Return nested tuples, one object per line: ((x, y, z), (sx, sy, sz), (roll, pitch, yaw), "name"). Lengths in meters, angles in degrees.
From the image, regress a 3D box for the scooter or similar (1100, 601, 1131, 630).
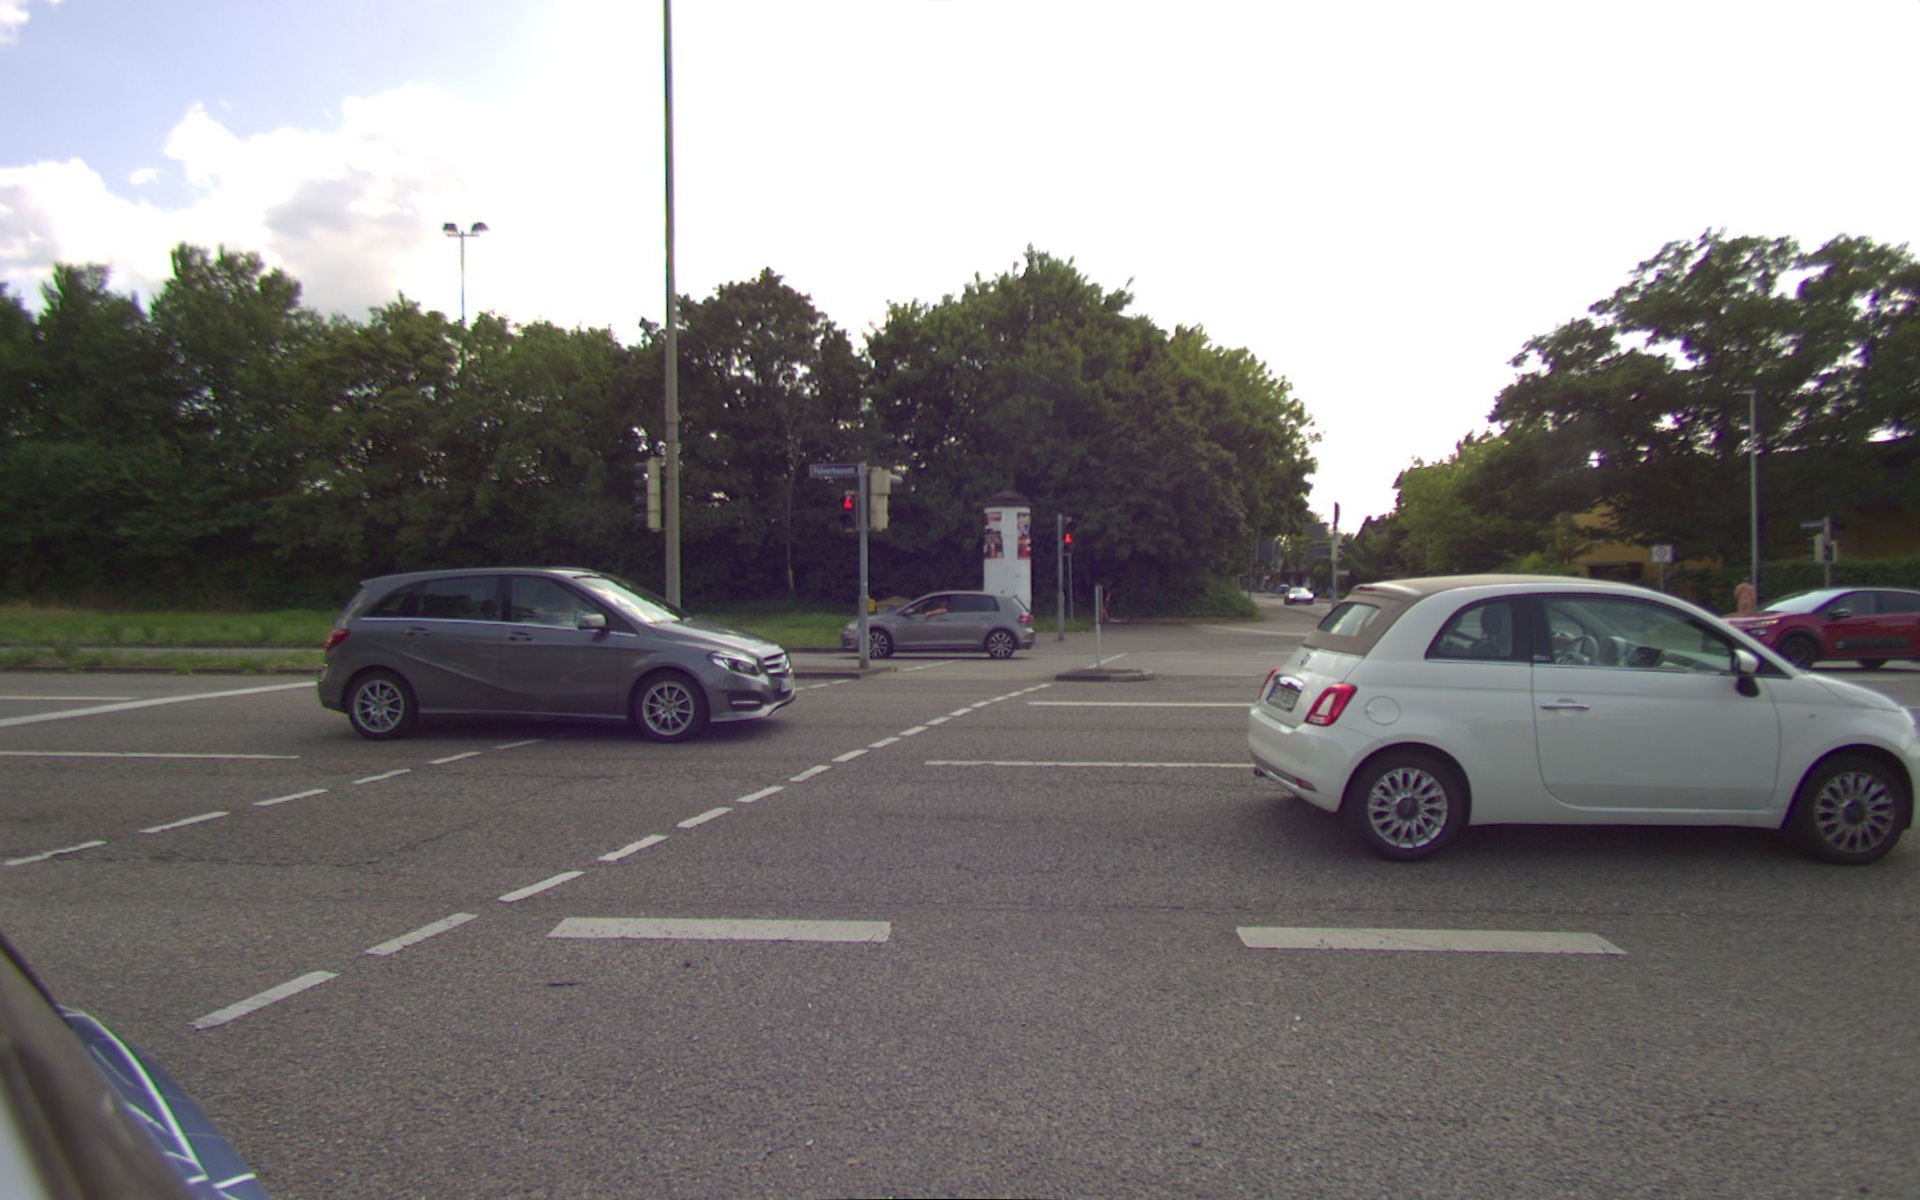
((5.239, 0.508, 34.104), (1.025, 0.949, 0.296), (1, 2, 11), "scooter or similar")

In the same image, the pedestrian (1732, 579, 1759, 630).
((27.300, 0.141, 35.190), (0.691, 1.755, 0.697), (0, 0, 34), "pedestrian")

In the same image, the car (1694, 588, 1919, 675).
((15.918, 0.530, 17.984), (4.394, 1.476, 1.777), (0, 0, 1), "car")

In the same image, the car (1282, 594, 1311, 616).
((25.746, 0.344, 77.586), (1.714, 1.439, 3.983), (1, 3, 14), "car")

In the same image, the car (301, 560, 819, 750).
((-3.639, 0.450, 9.676), (4.303, 1.631, 1.703), (0, 2, 4), "car")

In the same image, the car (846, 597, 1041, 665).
((-0.320, 0.629, 21.610), (4.027, 1.383, 1.598), (0, 0, 3), "car")

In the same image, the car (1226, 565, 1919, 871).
((3.478, 0.575, 5.819), (3.493, 1.508, 1.574), (0, 0, 2), "car")
